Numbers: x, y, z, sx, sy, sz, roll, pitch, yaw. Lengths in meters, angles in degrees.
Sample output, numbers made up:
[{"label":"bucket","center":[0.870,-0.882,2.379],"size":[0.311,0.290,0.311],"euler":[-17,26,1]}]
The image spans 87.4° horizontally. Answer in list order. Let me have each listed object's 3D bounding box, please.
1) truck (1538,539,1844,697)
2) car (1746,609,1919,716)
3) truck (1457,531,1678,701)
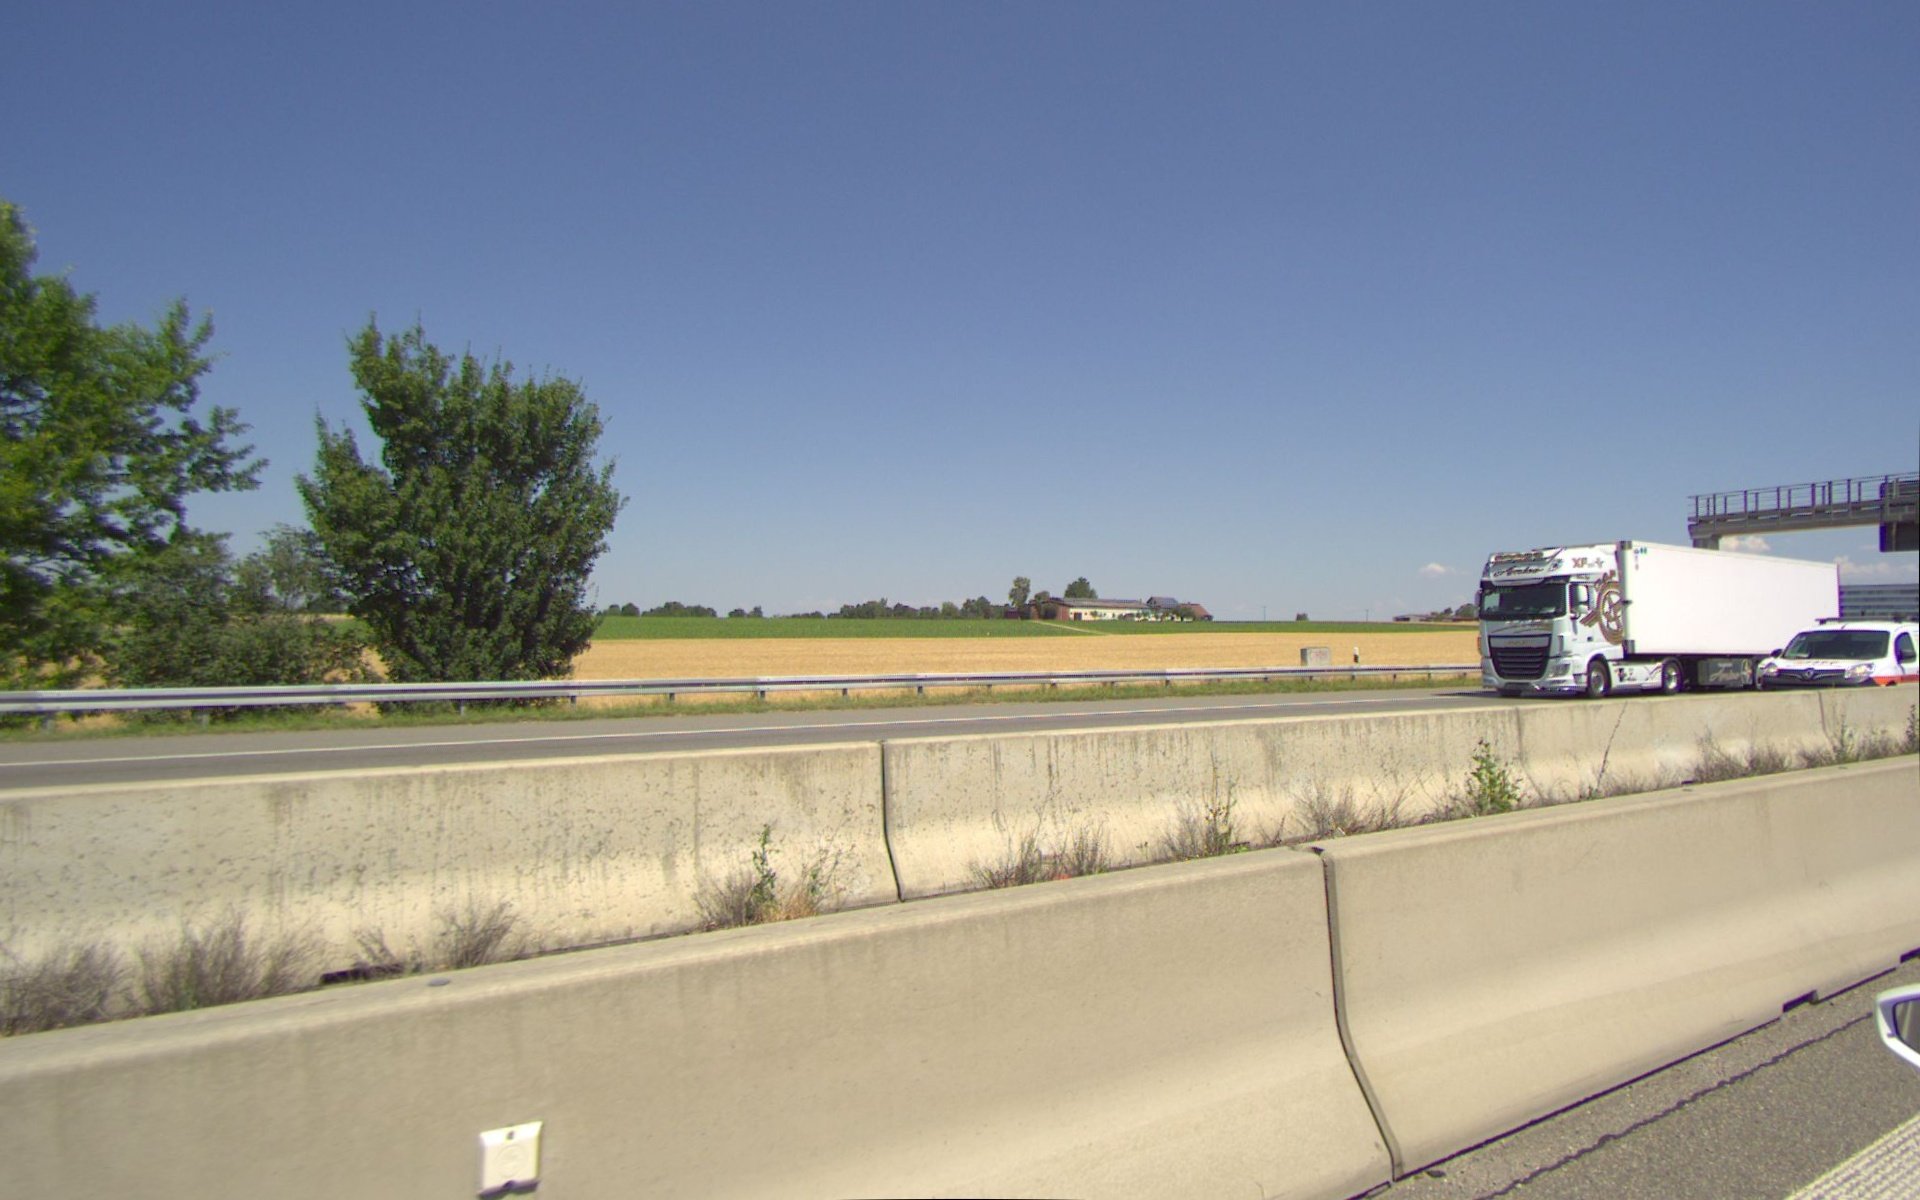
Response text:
[{"label":"truck","center":[23.160,0.657,31.419],"size":[12.717,4.212,2.936],"euler":[1,-3,-31]},{"label":"car","center":[16.943,1.104,18.877],"size":[4.936,1.776,1.807],"euler":[1,-1,-31]},{"label":"truck","center":[16.650,0.506,27.513],"size":[5.408,4.212,2.936],"euler":[1,-3,-31]}]
